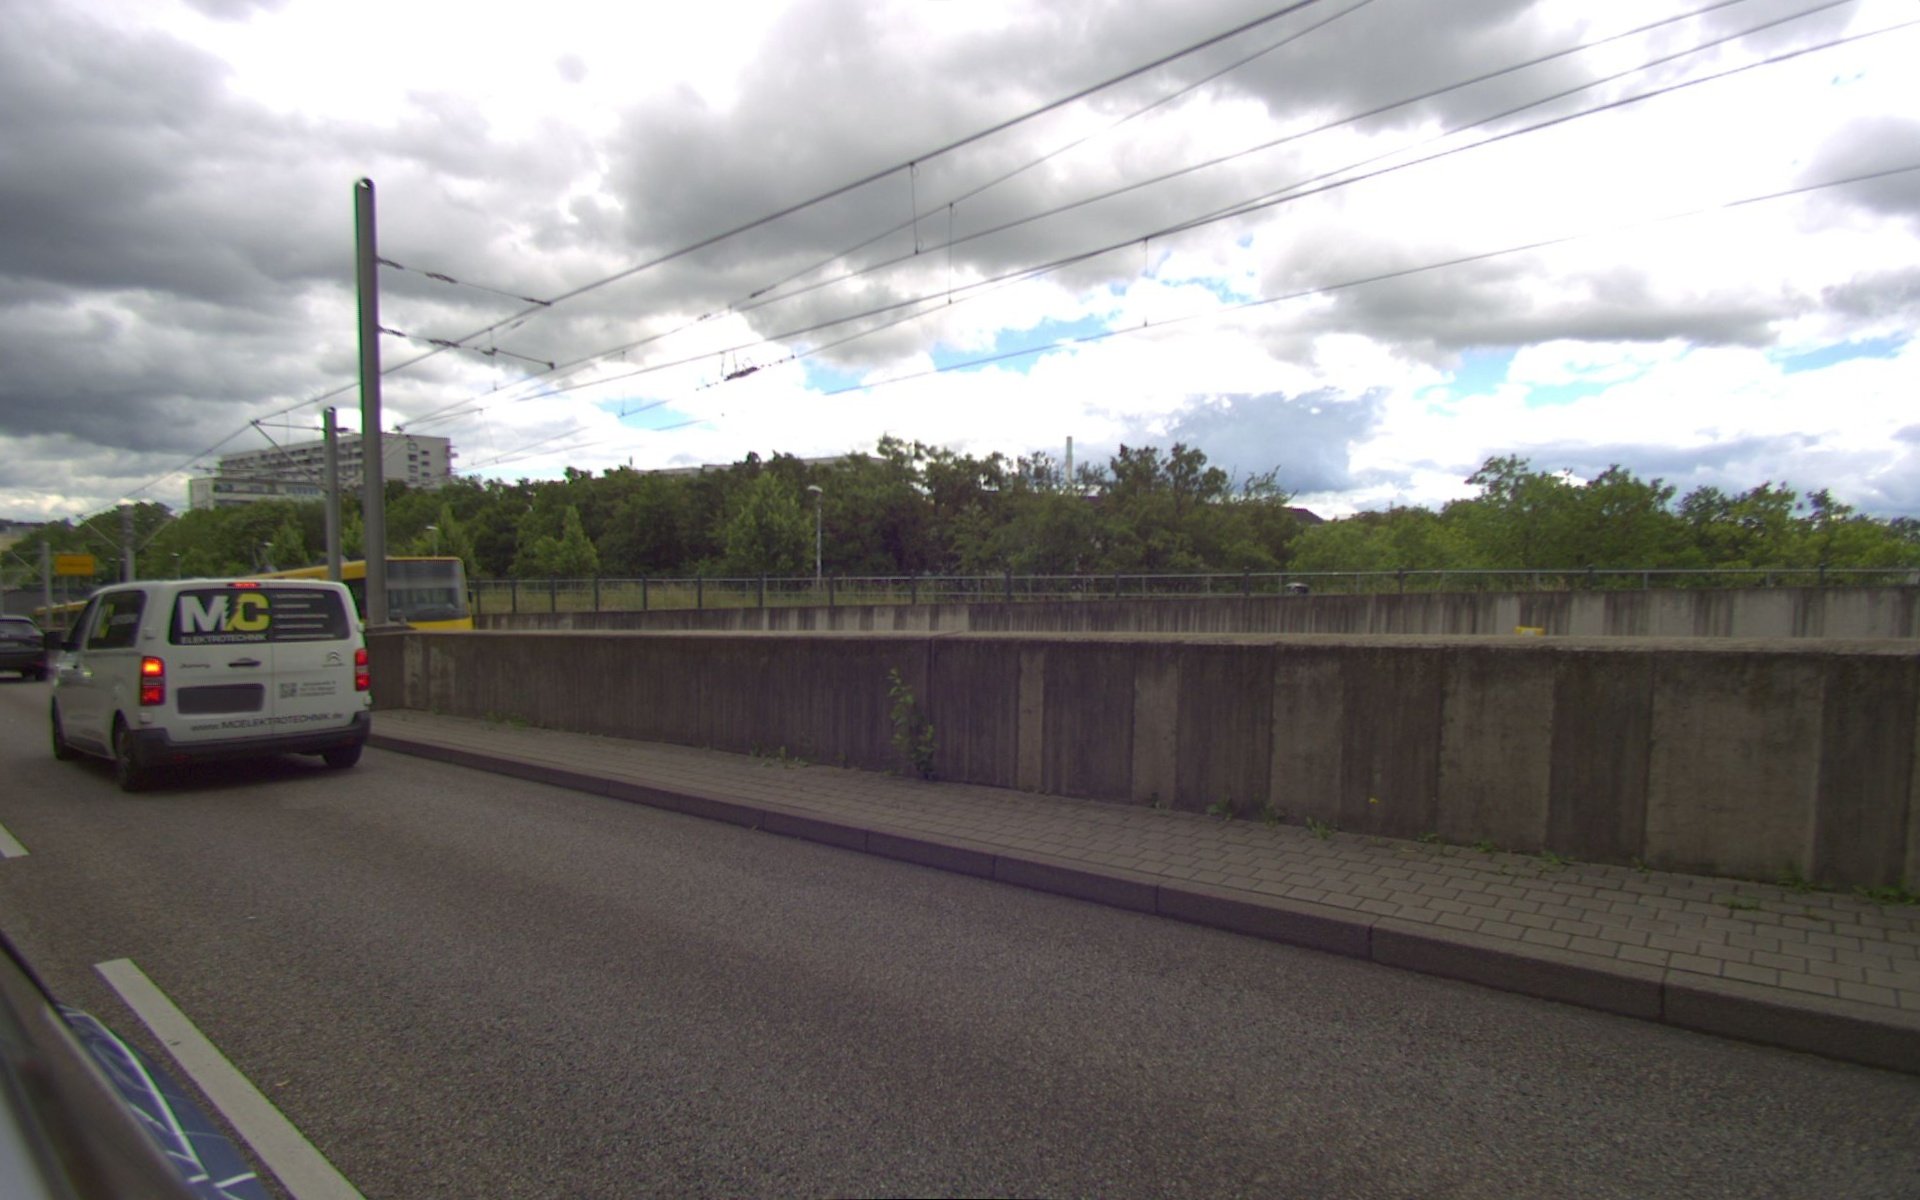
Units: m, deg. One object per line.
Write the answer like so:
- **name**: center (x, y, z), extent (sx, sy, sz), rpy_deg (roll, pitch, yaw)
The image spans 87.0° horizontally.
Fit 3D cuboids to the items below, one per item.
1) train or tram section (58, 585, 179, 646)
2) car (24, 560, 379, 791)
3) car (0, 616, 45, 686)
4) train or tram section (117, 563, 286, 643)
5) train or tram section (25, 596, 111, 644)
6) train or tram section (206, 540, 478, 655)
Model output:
- **train or tram section**: center (-51.811, 1.011, 61.882), extent (19.908, 3.239, 2.706), rpy_deg (-2, 0, 42)
- **car**: center (-7.956, 0.638, 10.419), extent (4.902, 1.847, 1.877), rpy_deg (-1, -1, 40)
- **car**: center (-24.919, 1.289, 25.897), extent (4.063, 1.700, 1.759), rpy_deg (-2, -2, 41)
- **train or tram section**: center (-36.140, 0.185, 47.648), extent (18.468, 3.217, 2.751), rpy_deg (-1, 0, 42)
- **train or tram section**: center (-65.827, 1.401, 74.421), extent (17.560, 3.215, 2.682), rpy_deg (-1, 0, 42)
- **train or tram section**: center (-22.300, 0.008, 35.392), extent (18.465, 3.217, 2.752), rpy_deg (-1, 0, 41)
